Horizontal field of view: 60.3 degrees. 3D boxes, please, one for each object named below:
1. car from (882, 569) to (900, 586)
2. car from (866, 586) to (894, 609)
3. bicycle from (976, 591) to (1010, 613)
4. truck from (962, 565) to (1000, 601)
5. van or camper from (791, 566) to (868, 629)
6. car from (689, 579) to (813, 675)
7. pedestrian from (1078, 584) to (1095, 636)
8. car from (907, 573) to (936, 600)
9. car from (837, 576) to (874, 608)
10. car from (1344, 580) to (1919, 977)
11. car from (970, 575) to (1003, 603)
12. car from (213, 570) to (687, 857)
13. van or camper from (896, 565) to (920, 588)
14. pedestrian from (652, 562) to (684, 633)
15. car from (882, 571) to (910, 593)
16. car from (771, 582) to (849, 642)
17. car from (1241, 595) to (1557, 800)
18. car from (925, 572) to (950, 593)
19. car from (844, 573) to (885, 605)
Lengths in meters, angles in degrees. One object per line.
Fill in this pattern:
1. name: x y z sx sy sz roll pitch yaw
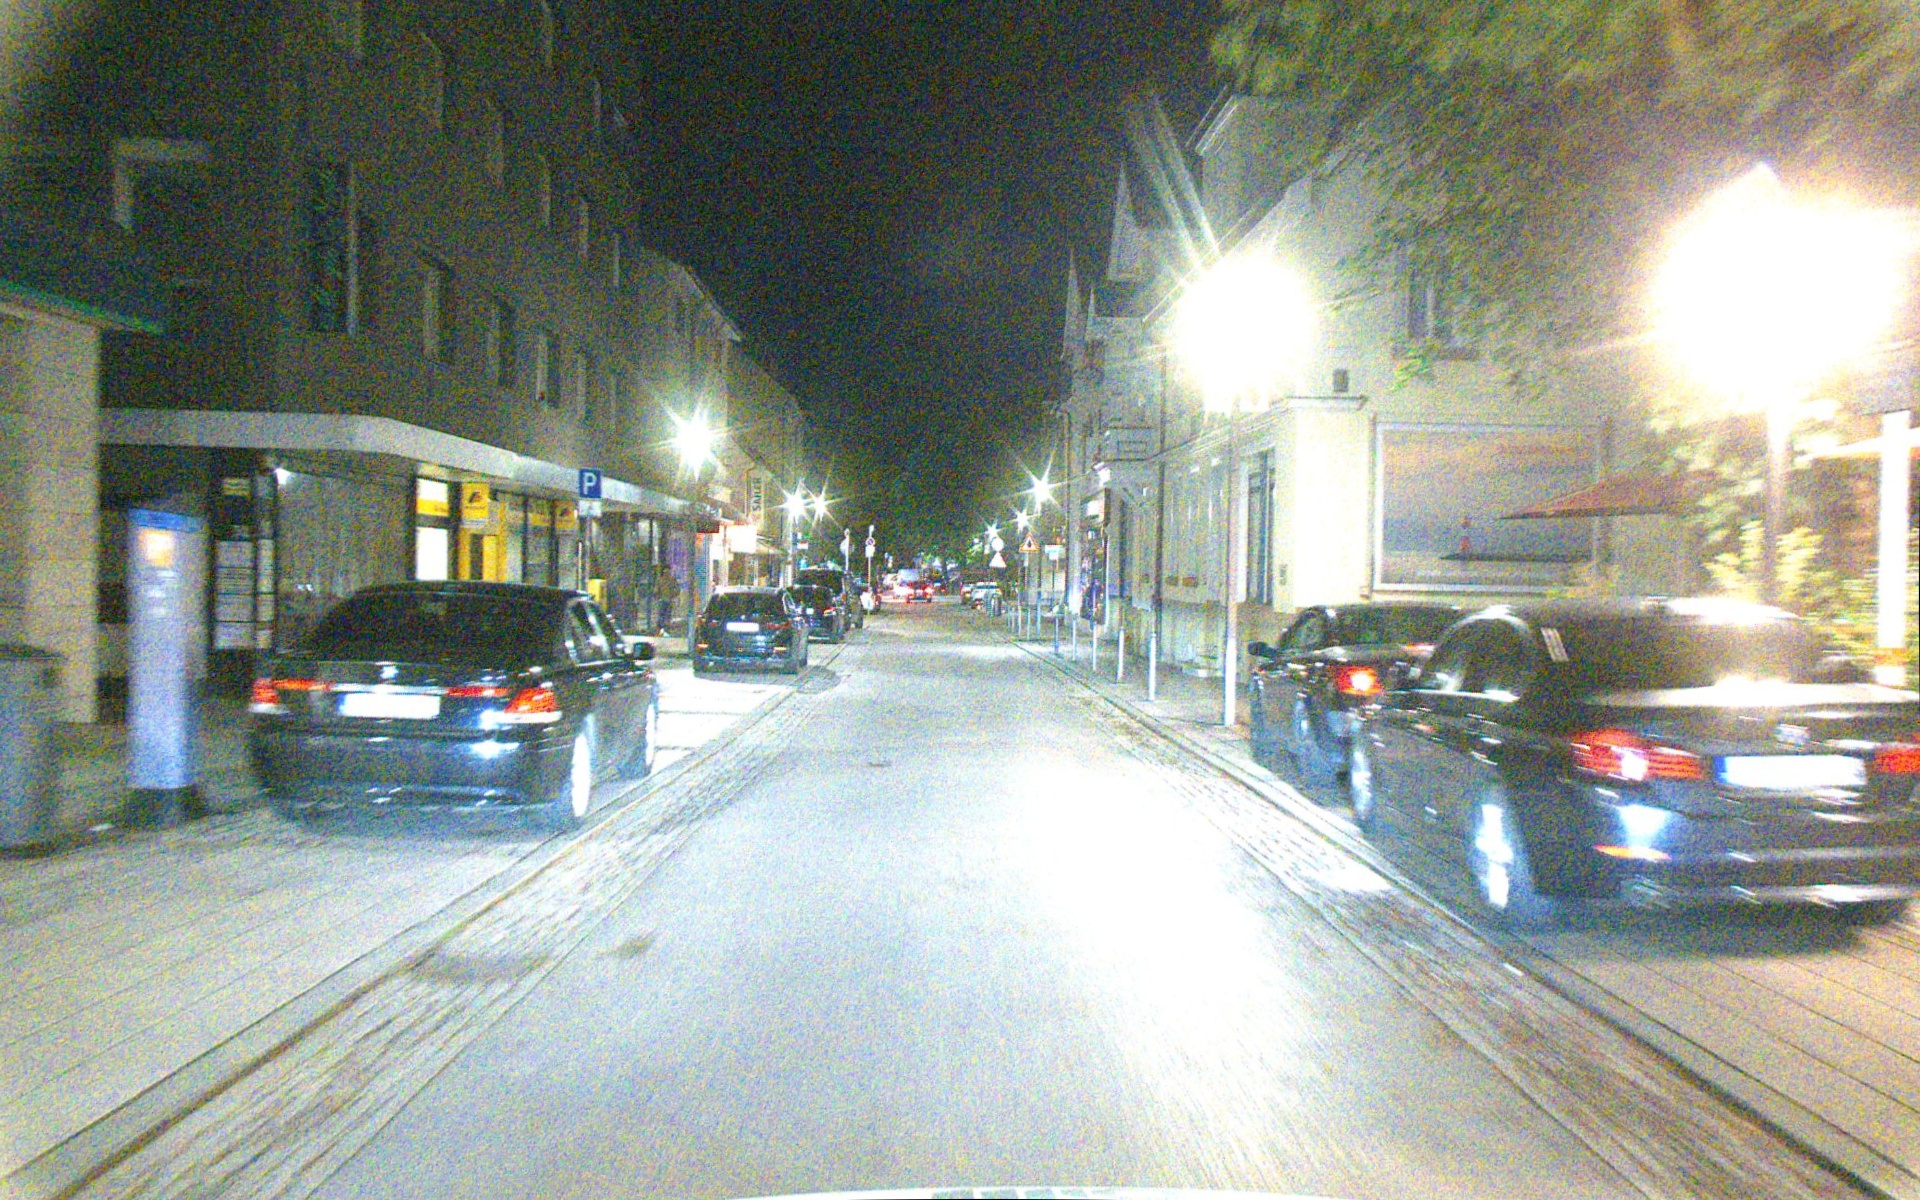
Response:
1. car: -7.970 -2.606 191.326 1.804 1.934 3.840 0 1 -7
2. car: -5.612 -0.190 115.574 1.642 1.570 4.224 1 1 -7
3. bicycle: 1.679 0.096 84.191 1.720 1.080 0.346 0 1 -4
4. truck: 1.363 -1.172 111.448 2.289 2.352 5.779 0 1 -2
5. van or camper: -4.341 -0.121 55.800 1.807 1.975 5.156 1 1 4
6. car: -3.634 0.435 29.444 1.761 1.503 4.319 2 0 -2
7. pedestrian: 3.879 0.290 50.637 0.490 1.574 0.480 1 0 5
8. car: -2.781 -0.963 118.684 1.953 1.855 3.998 1 1 -3
9. car: -5.136 -0.427 81.893 1.694 1.502 3.845 1 1 -2
10. car: 3.322 0.670 8.574 1.717 1.489 4.468 -1 0 2
11. car: 1.511 -0.660 95.850 1.753 1.517 4.058 -1 1 -1
12. car: -3.131 0.594 11.232 1.807 1.489 4.622 2 0 -1
13. van or camper: -5.418 -2.469 172.735 2.069 2.357 4.254 -1 1 -8
14. pedestrian: -7.391 -0.068 41.871 0.608 1.776 1.022 1 0 -1
15. car: -5.227 -1.448 133.976 1.955 1.732 3.995 1 1 -6
16. car: -3.893 0.285 43.537 1.682 1.437 4.385 2 1 -1
17. car: 3.460 0.686 13.782 1.626 1.401 4.105 -1 0 2
18. car: -2.000 -1.586 146.722 1.780 1.860 4.340 0 1 -7
19. car: -5.021 -0.605 87.386 1.979 1.513 5.006 3 1 -2
